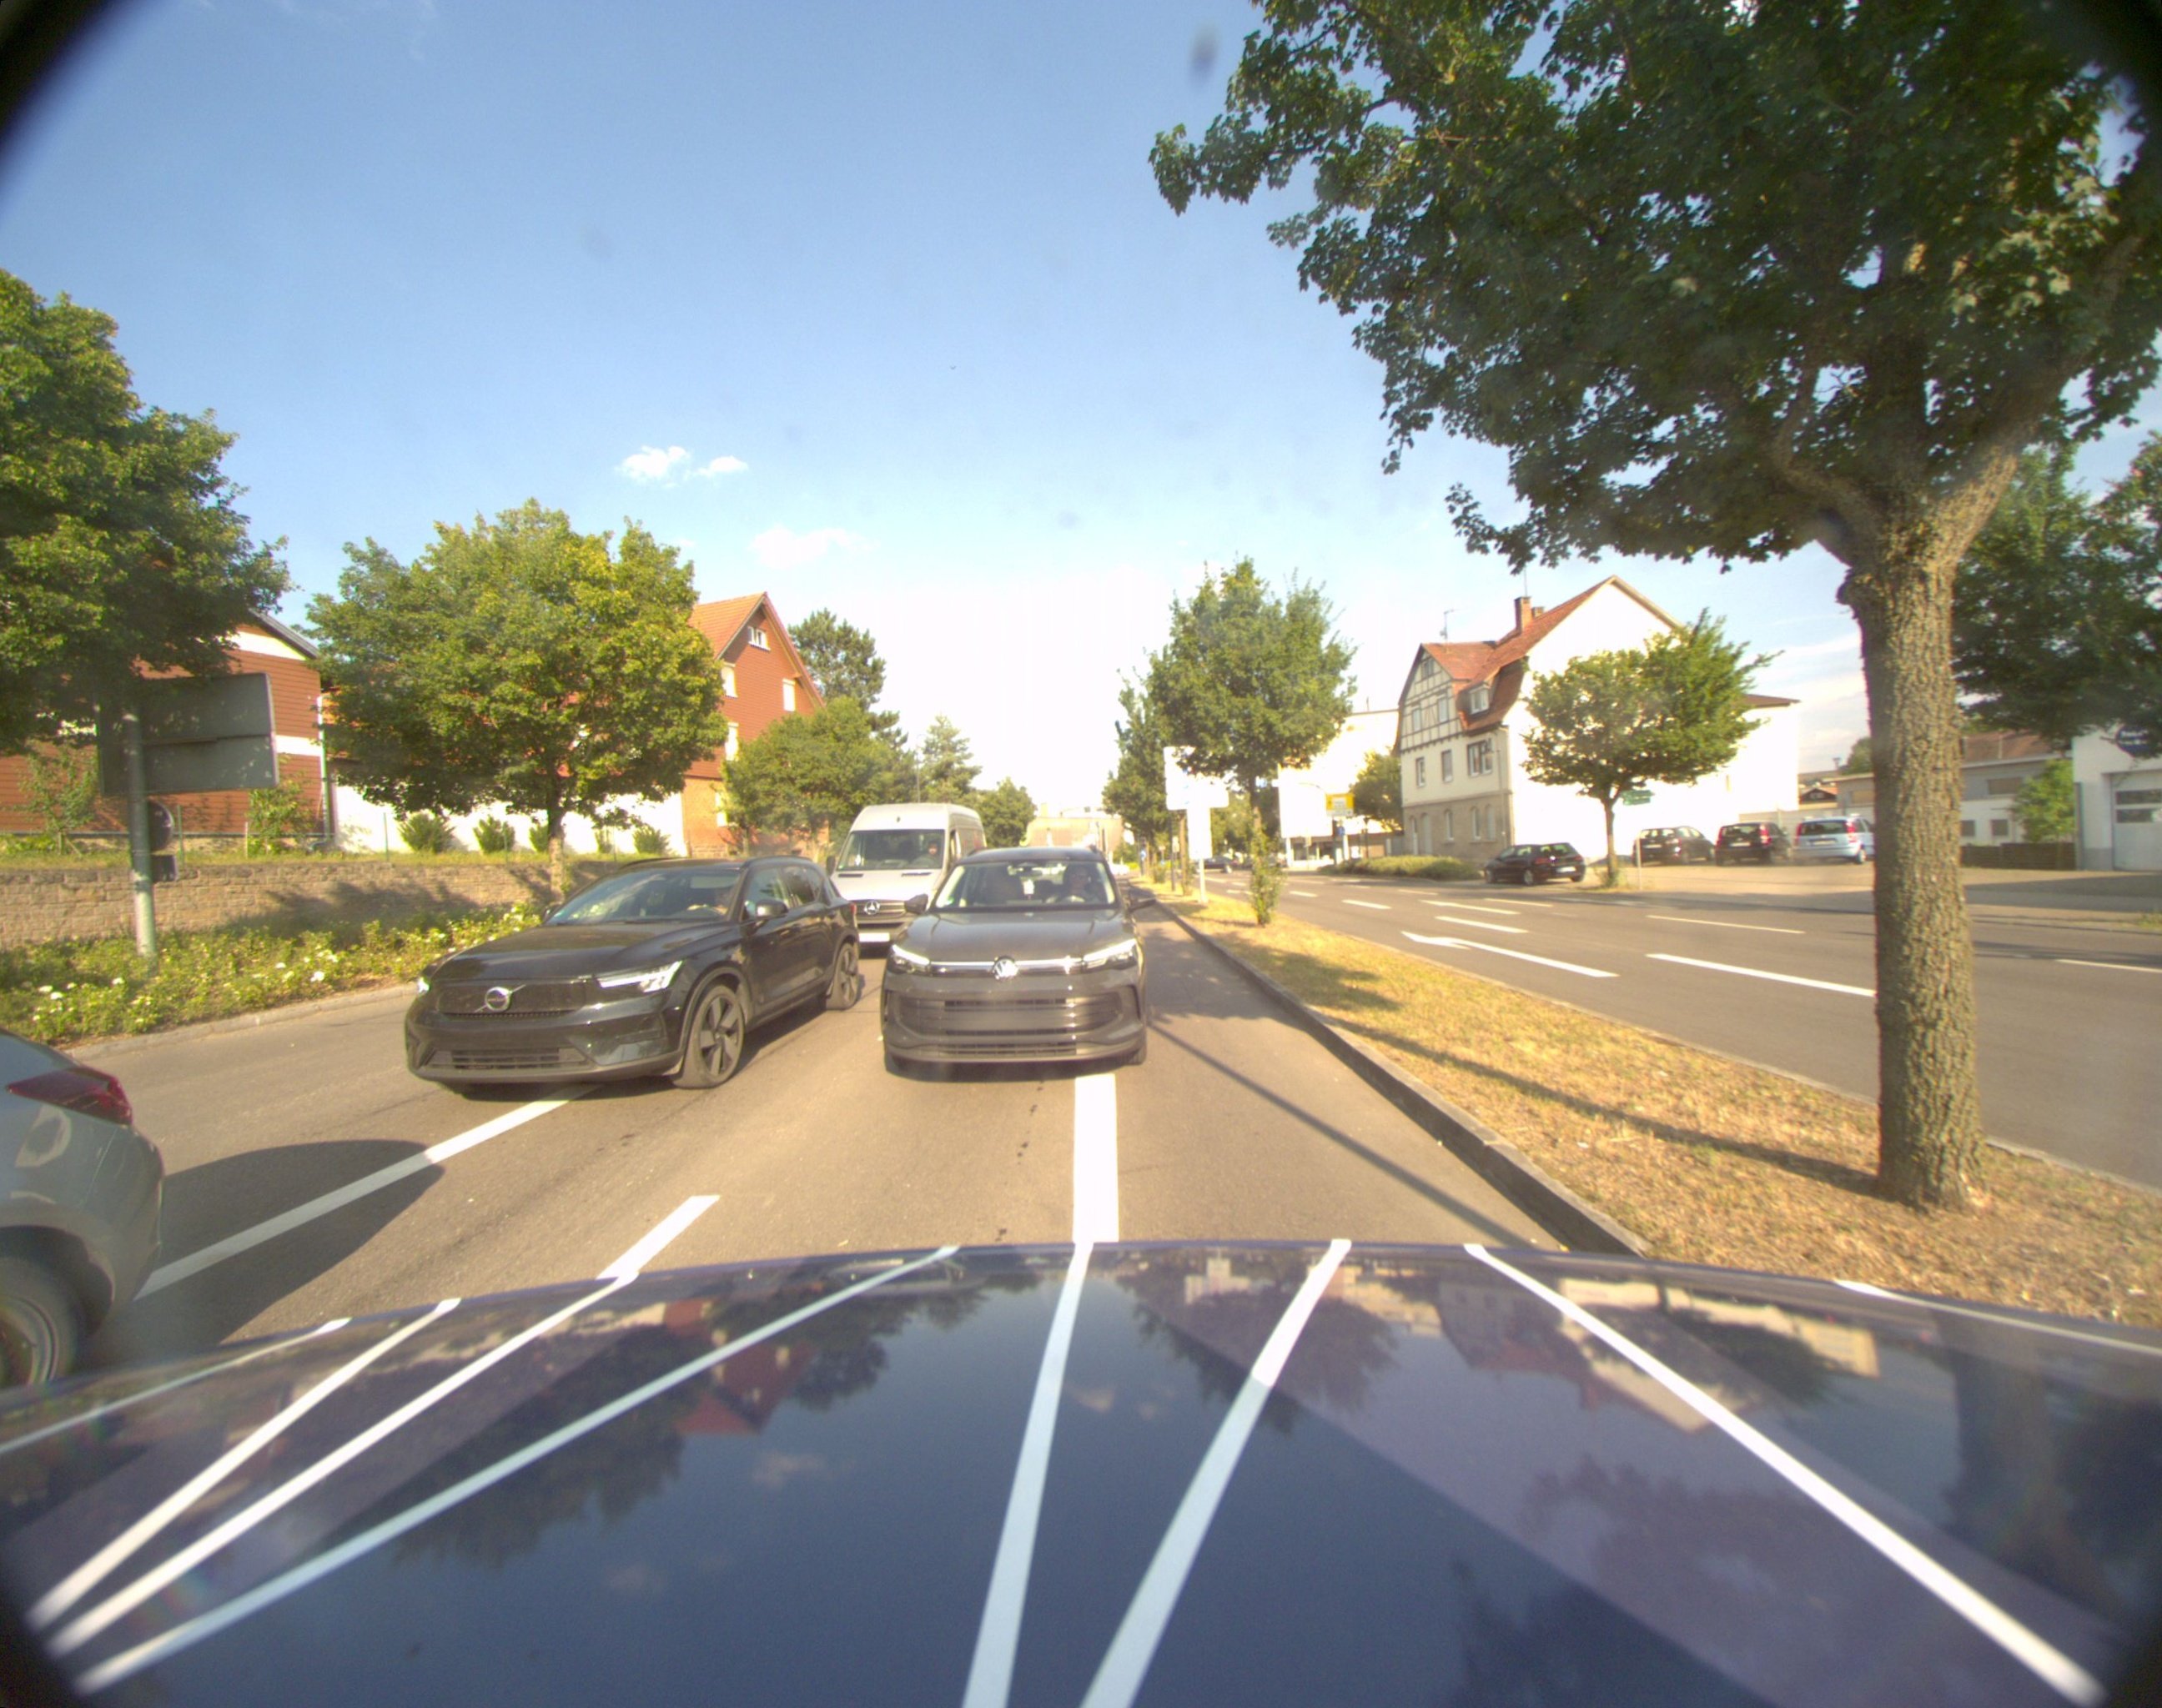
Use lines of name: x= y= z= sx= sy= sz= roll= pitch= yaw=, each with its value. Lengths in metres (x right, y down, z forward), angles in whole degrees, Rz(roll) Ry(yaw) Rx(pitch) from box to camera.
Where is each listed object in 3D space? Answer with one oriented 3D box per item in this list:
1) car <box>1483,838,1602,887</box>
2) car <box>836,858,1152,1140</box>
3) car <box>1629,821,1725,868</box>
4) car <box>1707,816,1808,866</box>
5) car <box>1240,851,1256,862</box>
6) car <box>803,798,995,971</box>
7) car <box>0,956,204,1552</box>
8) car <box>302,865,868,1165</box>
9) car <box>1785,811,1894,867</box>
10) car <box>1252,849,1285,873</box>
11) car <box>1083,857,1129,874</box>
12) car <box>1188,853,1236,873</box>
car: x=16.031 y=0.278 z=26.626 sx=1.818 sy=1.442 sz=3.825 roll=-5 pitch=0 yaw=1
car: x=-0.454 y=0.870 z=6.625 sx=1.845 sy=1.600 sz=4.318 roll=-1 pitch=0 yaw=2
car: x=23.377 y=-0.393 z=29.760 sx=3.830 sy=1.493 sz=1.816 roll=-5 pitch=0 yaw=-35
car: x=24.655 y=-0.491 z=27.663 sx=3.830 sy=1.493 sz=1.816 roll=-5 pitch=0 yaw=-35
car: x=25.546 y=0.364 z=116.275 sx=1.779 sy=1.683 sz=4.005 roll=-2 pitch=0 yaw=20
car: x=-3.056 y=0.446 z=14.345 sx=1.992 sy=2.554 sz=6.046 roll=-1 pitch=0 yaw=2
car: x=-3.615 y=1.058 z=0.189 sx=1.766 sy=1.445 sz=4.318 roll=-1 pitch=0 yaw=0
car: x=-3.401 y=0.944 z=6.436 sx=1.845 sy=1.600 sz=4.318 roll=-1 pitch=0 yaw=2
car: x=24.877 y=-0.504 z=24.897 sx=3.830 sy=1.493 sz=1.816 roll=-5 pitch=0 yaw=-35
car: x=14.232 y=0.502 z=57.863 sx=1.781 sy=1.683 sz=4.001 roll=-2 pitch=0 yaw=4
car: x=2.593 y=1.178 z=77.520 sx=4.367 sy=1.460 sz=1.784 roll=-2 pitch=0 yaw=11
car: x=11.911 y=0.820 z=69.246 sx=3.998 sy=1.664 sz=1.786 roll=-2 pitch=1 yaw=-4
